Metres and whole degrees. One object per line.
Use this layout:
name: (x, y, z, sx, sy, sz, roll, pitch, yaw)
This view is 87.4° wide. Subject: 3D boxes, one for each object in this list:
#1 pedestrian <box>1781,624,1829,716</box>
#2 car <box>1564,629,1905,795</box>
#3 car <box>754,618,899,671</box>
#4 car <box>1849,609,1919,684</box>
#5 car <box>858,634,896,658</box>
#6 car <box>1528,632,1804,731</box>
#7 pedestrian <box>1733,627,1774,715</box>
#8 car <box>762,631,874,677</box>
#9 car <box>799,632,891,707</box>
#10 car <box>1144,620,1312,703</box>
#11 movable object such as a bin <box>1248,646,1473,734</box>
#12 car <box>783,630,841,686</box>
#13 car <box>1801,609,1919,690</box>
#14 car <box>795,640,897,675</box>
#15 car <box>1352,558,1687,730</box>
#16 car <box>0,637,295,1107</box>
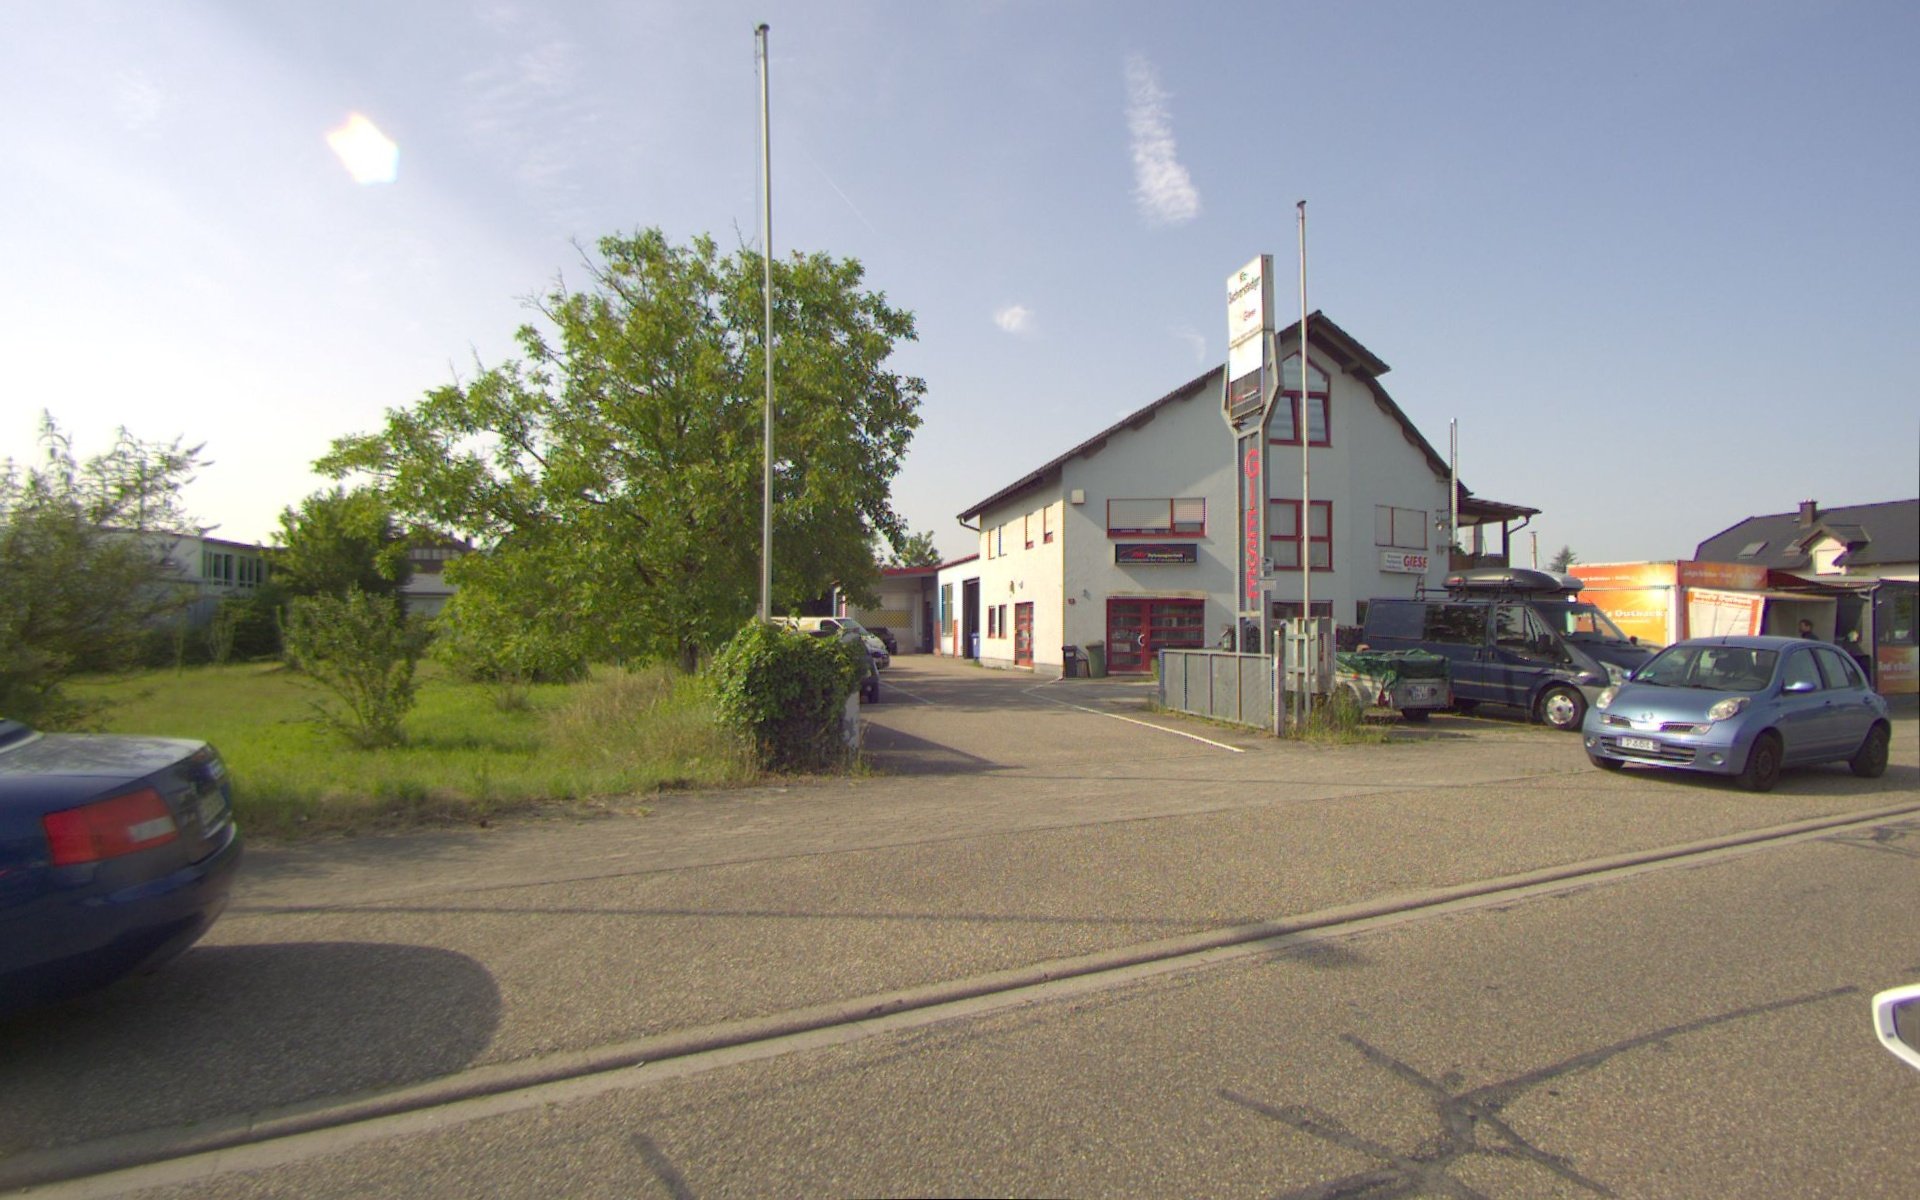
pedestrian: (16.391, 1.346, 19.500, 0.553, 1.737, 0.534, -1, -2, 23)
car: (8.601, 1.138, 11.137, 3.559, 1.537, 1.627, 2, -1, -27)
car: (-5.081, 1.681, 38.197, 5.175, 1.940, 1.844, -1, -2, 19)
car: (34.789, 1.610, 35.081, 2.529, 2.619, 5.168, 0, -3, -8)
car: (-4.950, 2.717, 59.279, 1.794, 1.359, 3.723, 1, -2, -12)
car: (12.185, 1.328, 17.543, 1.743, 1.433, 3.568, 2, -1, -32)
pedestrian: (15.597, 1.386, 19.739, 0.533, 1.710, 0.407, 1, -3, -26)
car: (-4.527, 1.719, 32.126, 3.243, 1.401, 1.438, 2, -3, -31)
car: (-2.447, 1.376, 20.749, 1.632, 1.408, 3.229, 1, -2, -11)
car: (5.880, 1.317, 22.003, 3.431, 1.683, 1.540, 1, -2, -28)
movable object such as a bin: (6.526, 1.419, 16.723, 1.735, 1.162, 3.319, 1, -1, -20)
car: (-4.174, 1.571, 28.059, 1.424, 1.451, 3.487, 1, -2, -11)
car: (31.686, 1.666, 33.916, 2.106, 2.619, 4.813, 0, -3, -8)
car: (-3.966, 1.985, 34.955, 3.216, 1.157, 1.450, -1, -2, 19)
car: (9.105, 0.729, 16.846, 1.974, 2.448, 4.611, 1, -2, -26)
car: (-4.713, 0.833, 3.066, 4.317, 1.406, 1.626, 2, -1, -30)
